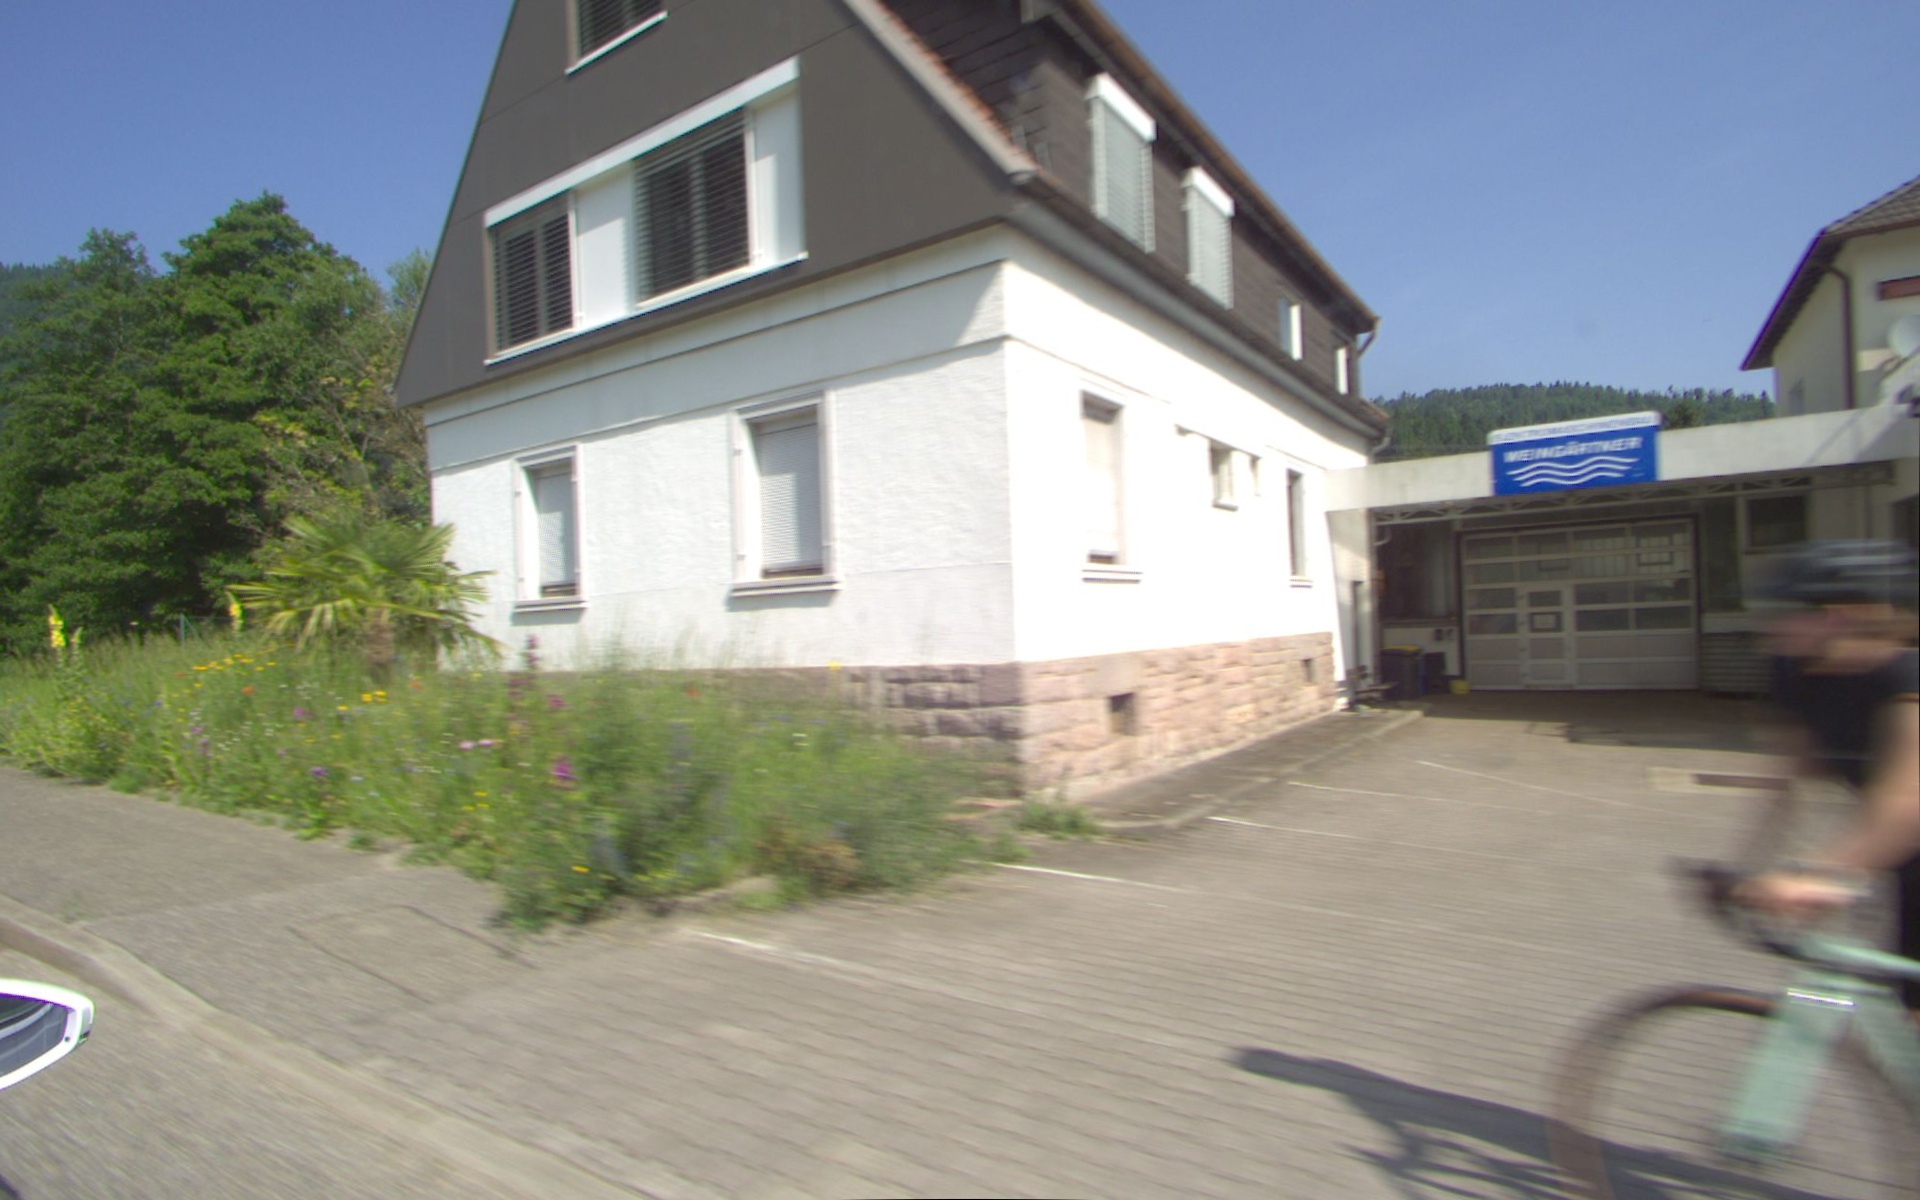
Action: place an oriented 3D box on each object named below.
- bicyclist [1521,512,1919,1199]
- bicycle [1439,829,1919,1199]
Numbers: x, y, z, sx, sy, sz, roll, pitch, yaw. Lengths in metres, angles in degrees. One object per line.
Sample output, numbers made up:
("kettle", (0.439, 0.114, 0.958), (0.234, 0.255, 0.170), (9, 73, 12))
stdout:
("bicyclist", (2.028, 0.687, 2.247), (1.118, 1.653, 0.690), (2, -1, 4))
("bicycle", (2.198, 1.088, 2.217), (1.912, 0.929, 0.691), (2, -1, 4))
